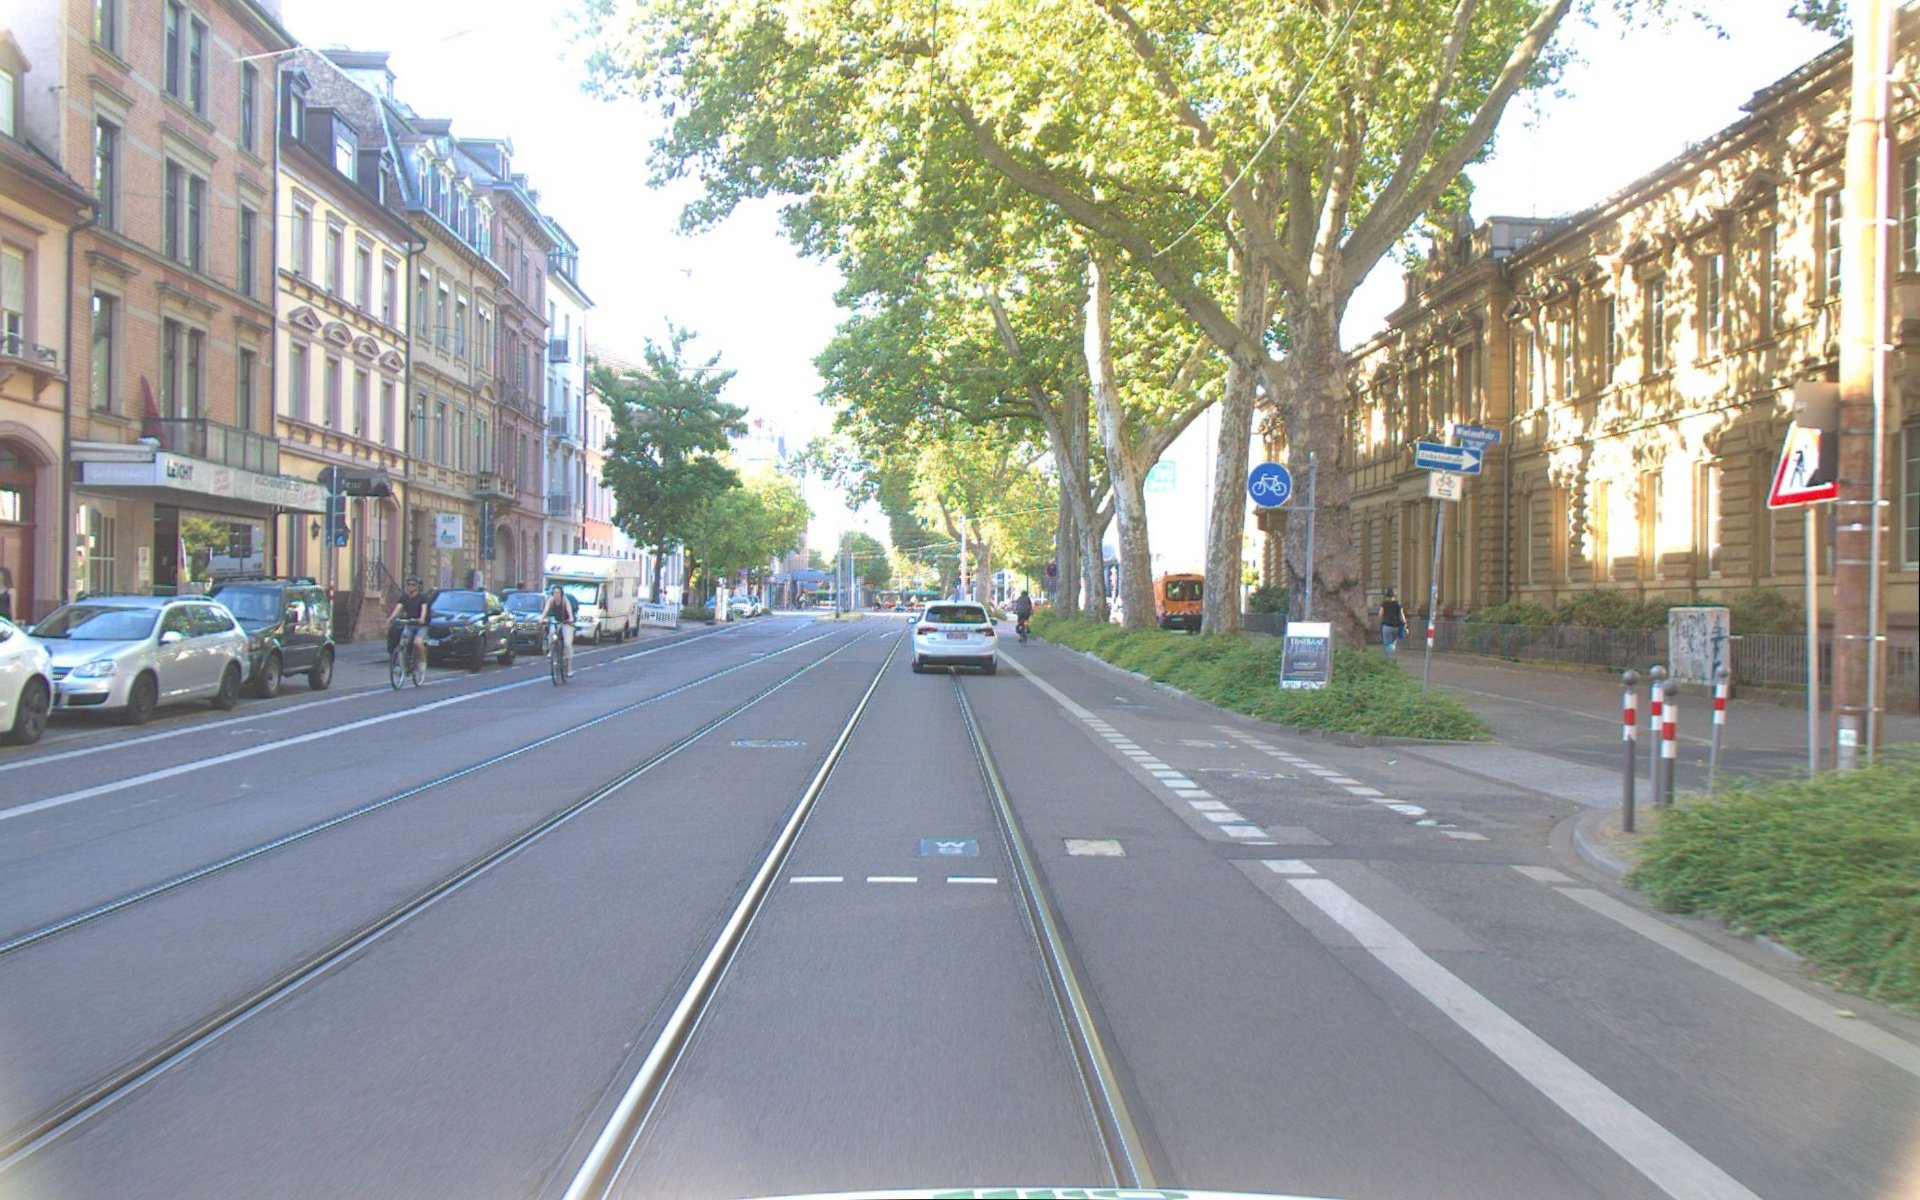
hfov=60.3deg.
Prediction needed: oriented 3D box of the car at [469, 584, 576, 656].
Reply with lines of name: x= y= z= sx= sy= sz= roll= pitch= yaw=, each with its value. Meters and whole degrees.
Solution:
car: x=-11.872 y=0.522 z=45.133 sx=1.925 sy=1.812 sz=4.467 roll=1 pitch=0 yaw=-4

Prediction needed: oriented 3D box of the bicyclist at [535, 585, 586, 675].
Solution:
bicyclist: x=-6.915 y=0.517 z=28.676 sx=0.625 sy=1.529 sz=1.069 roll=-1 pitch=0 yaw=-1

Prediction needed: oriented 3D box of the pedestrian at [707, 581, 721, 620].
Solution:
pedestrian: x=-13.053 y=0.028 z=87.740 sx=0.588 sy=2.037 sz=0.750 roll=1 pitch=0 yaw=2

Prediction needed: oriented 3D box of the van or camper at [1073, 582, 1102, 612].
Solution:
van or camper: x=10.478 y=-0.210 z=136.423 sx=1.953 sy=2.384 sz=3.999 roll=2 pitch=0 yaw=-2

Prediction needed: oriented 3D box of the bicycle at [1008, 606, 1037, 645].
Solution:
bicycle: x=2.002 y=0.801 z=53.207 sx=0.666 sy=1.175 sz=2.963 roll=2 pitch=0 yaw=-2

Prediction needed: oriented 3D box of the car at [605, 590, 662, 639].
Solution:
car: x=-12.354 y=0.529 z=62.748 sx=1.608 sy=1.756 sz=3.781 roll=1 pitch=0 yaw=-4

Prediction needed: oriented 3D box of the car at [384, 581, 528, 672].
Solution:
car: x=-11.240 y=0.547 z=37.257 sx=1.926 sy=1.812 sz=4.934 roll=3 pitch=0 yaw=-4

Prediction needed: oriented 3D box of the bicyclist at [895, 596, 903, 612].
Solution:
bicyclist: x=-6.144 y=0.373 z=166.178 sx=0.626 sy=1.549 sz=0.602 roll=0 pitch=1 yaw=-37

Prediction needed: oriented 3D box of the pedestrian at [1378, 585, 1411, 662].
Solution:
pedestrian: x=9.545 y=0.514 z=36.311 sx=0.634 sy=1.661 sz=0.872 roll=2 pitch=0 yaw=17

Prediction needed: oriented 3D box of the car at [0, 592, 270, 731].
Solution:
car: x=-10.482 y=0.689 z=20.930 sx=1.791 sy=1.529 sz=4.447 roll=2 pitch=0 yaw=-3

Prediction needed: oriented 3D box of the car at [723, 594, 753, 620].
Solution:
car: x=-15.898 y=0.492 z=118.583 sx=1.758 sy=1.756 sz=3.781 roll=1 pitch=0 yaw=-4

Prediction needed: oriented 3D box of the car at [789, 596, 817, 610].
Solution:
car: x=-22.619 y=0.456 z=238.895 sx=3.714 sy=1.850 sz=1.804 roll=2 pitch=0 yaw=4

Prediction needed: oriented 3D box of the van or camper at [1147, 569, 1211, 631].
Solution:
van or camper: x=9.305 y=0.014 z=70.677 sx=1.986 sy=2.507 sz=5.108 roll=2 pitch=0 yaw=0

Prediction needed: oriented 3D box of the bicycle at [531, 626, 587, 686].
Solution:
bicycle: x=-6.875 y=0.944 z=28.424 sx=0.488 sy=0.959 sz=1.921 roll=-1 pitch=0 yaw=0

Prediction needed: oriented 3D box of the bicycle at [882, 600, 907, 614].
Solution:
bicycle: x=-6.604 y=0.677 z=165.824 sx=2.660 sy=1.351 sz=0.607 roll=0 pitch=0 yaw=-37

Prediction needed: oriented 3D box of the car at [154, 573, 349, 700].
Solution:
car: x=-10.759 y=0.520 z=25.370 sx=1.525 sy=1.762 sz=3.683 roll=2 pitch=0 yaw=-3

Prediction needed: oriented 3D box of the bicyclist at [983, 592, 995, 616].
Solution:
bicyclist: x=1.893 y=0.260 z=109.044 sx=0.721 sy=1.617 sz=0.587 roll=0 pitch=0 yaw=10

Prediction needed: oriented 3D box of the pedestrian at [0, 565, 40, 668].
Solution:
pedestrian: x=-13.965 y=0.229 z=24.288 sx=0.625 sy=1.486 sz=0.654 roll=2 pitch=0 yaw=-18

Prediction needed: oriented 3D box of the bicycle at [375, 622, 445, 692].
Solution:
bicycle: x=-9.088 y=0.923 z=27.382 sx=0.475 sy=1.066 sz=2.039 roll=-1 pitch=0 yaw=0

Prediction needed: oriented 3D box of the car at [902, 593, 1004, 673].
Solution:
car: x=-0.195 y=0.651 z=34.102 sx=1.806 sy=1.506 sz=3.835 roll=2 pitch=0 yaw=-4

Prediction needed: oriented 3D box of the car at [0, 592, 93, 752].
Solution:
car: x=-10.207 y=0.694 z=15.645 sx=1.791 sy=1.529 sz=4.684 roll=2 pitch=0 yaw=-4

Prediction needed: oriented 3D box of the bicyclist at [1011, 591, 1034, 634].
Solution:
bicyclist: x=2.015 y=0.391 z=53.207 sx=0.665 sy=1.362 sz=0.525 roll=2 pitch=0 yaw=-2

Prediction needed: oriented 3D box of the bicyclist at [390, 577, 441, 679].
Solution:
bicyclist: x=-9.100 y=0.462 z=27.664 sx=0.524 sy=1.663 sz=0.896 roll=-1 pitch=0 yaw=-1

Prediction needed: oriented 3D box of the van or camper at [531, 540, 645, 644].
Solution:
van or camper: x=-12.256 y=-0.247 z=55.054 sx=2.171 sy=3.195 sz=7.112 roll=1 pitch=0 yaw=-1

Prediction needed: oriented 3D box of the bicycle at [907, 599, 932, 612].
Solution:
bicycle: x=-4.130 y=0.544 z=167.803 sx=2.660 sy=1.351 sz=0.607 roll=0 pitch=0 yaw=-37

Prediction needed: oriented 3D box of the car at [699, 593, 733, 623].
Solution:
car: x=-14.495 y=0.468 z=98.354 sx=1.608 sy=1.756 sz=3.781 roll=1 pitch=0 yaw=-4

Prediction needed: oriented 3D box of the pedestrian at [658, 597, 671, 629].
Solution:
pedestrian: x=-16.837 y=0.716 z=94.204 sx=0.589 sy=1.803 sz=0.700 roll=2 pitch=0 yaw=-5

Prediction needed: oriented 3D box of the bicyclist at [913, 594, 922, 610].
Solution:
bicyclist: x=-4.312 y=0.211 z=167.695 sx=0.626 sy=1.549 sz=0.602 roll=0 pitch=1 yaw=-37

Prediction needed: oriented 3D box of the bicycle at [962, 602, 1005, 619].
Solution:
bicycle: x=1.549 y=0.679 z=109.125 sx=2.711 sy=1.017 sz=0.593 roll=2 pitch=0 yaw=12
